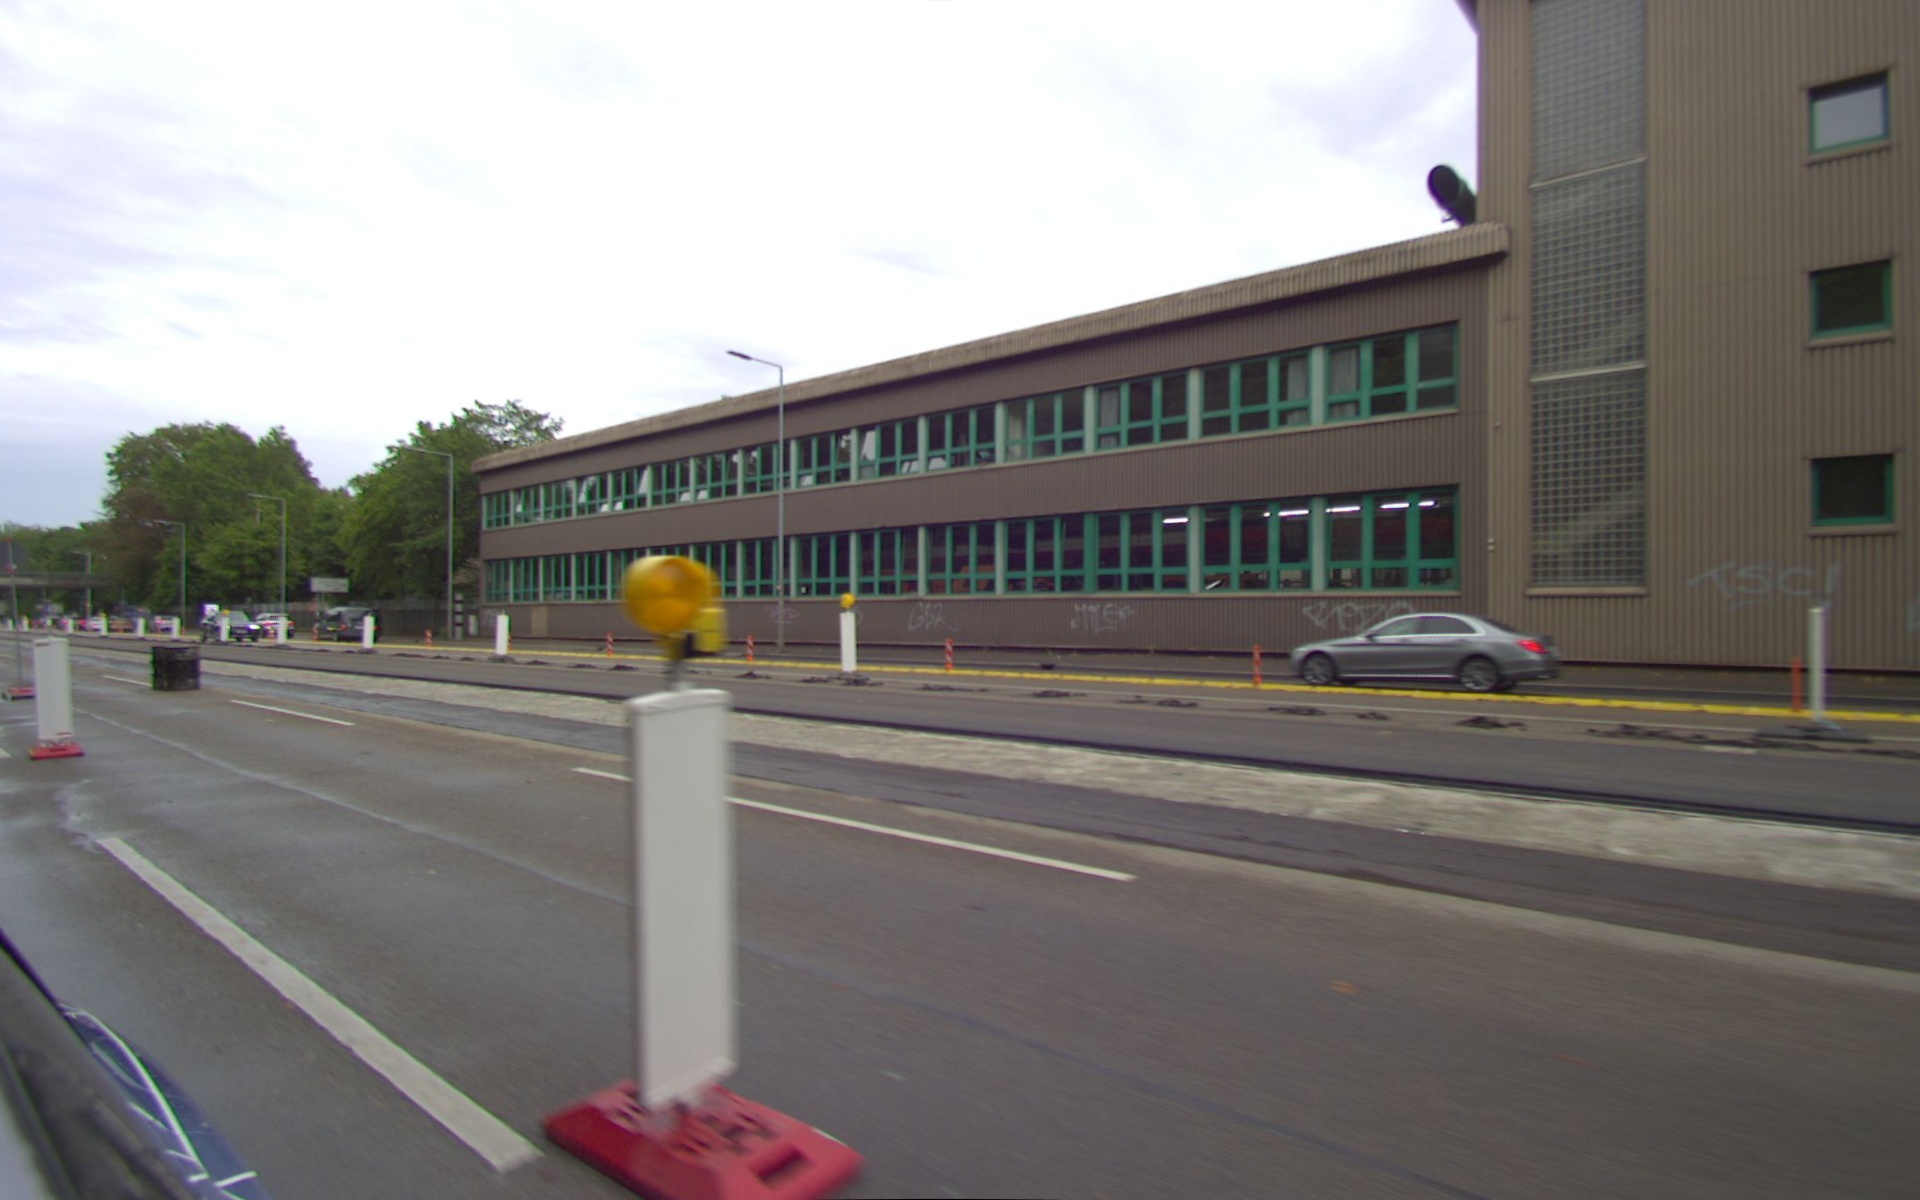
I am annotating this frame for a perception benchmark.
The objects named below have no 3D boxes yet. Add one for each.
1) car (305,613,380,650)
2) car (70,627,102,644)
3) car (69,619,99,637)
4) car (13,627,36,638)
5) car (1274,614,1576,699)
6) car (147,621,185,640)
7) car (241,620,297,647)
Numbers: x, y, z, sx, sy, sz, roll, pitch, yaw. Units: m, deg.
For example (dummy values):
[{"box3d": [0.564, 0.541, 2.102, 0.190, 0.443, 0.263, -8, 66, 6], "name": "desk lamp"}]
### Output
[{"box3d": [-31.862, 1.586, 52.153, 4.953, 1.794, 1.972, -1, 0, 42], "name": "car"}, {"box3d": [-84.234, 3.378, 97.528, 3.990, 1.546, 1.785, -1, 0, 41], "name": "car"}, {"box3d": [-95.146, 3.032, 109.859, 4.674, 1.781, 1.967, -1, 0, 43], "name": "car"}, {"box3d": [-133.873, 4.613, 144.793, 4.262, 1.440, 1.973, -2, -1, 40], "name": "car"}, {"box3d": [8.593, 0.973, 18.967, 4.789, 1.358, 1.972, -1, 0, 42], "name": "car"}, {"box3d": [-72.635, 2.771, 92.582, 4.177, 1.598, 1.973, -1, 0, 41], "name": "car"}, {"box3d": [-47.165, 2.256, 69.050, 4.932, 1.719, 1.918, -1, 0, 40], "name": "car"}]
